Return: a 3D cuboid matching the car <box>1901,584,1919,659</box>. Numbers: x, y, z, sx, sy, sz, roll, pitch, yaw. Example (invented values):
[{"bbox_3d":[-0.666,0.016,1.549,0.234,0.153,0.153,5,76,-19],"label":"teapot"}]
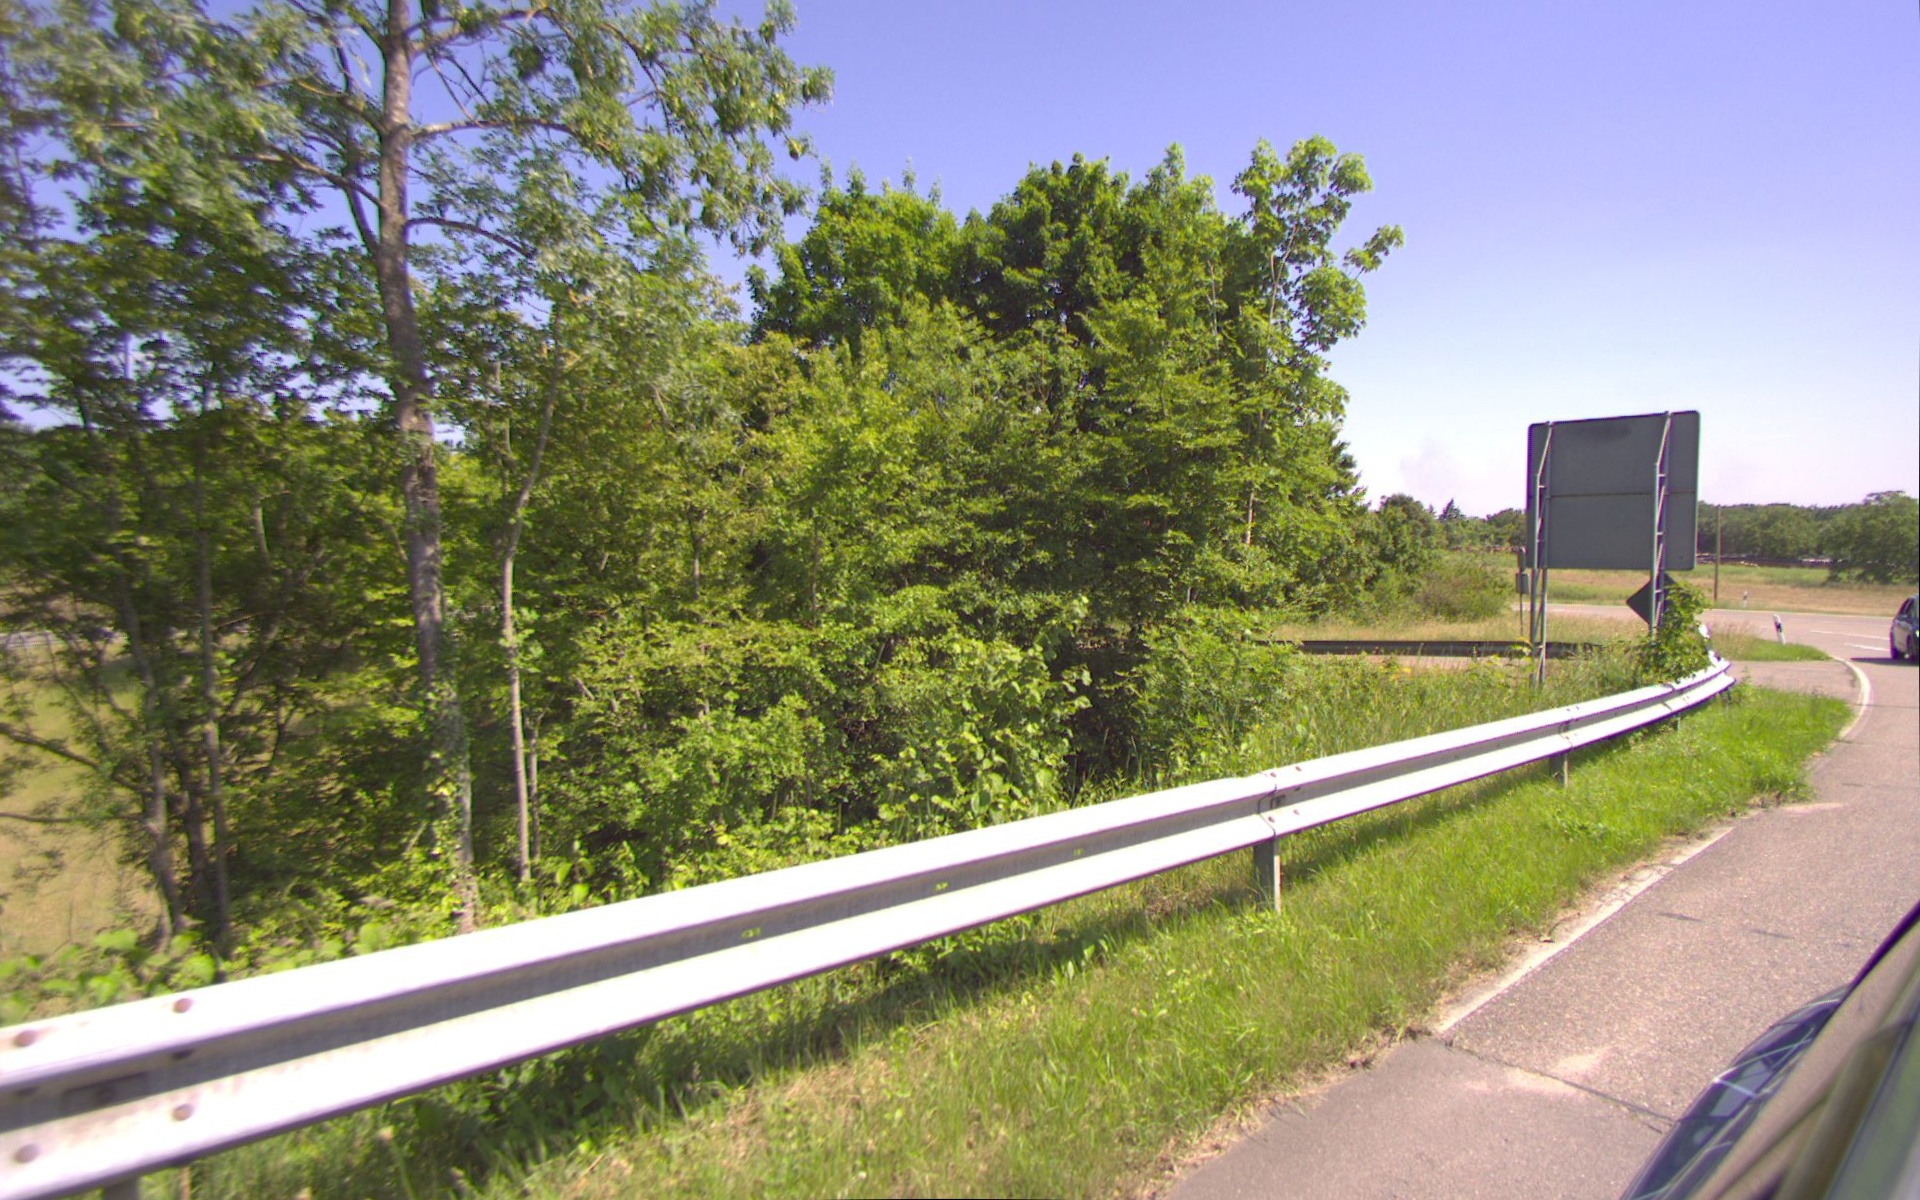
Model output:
[{"bbox_3d":[22.820,0.446,22.935,1.820,1.621,4.137,-2,0,39],"label":"car"}]
